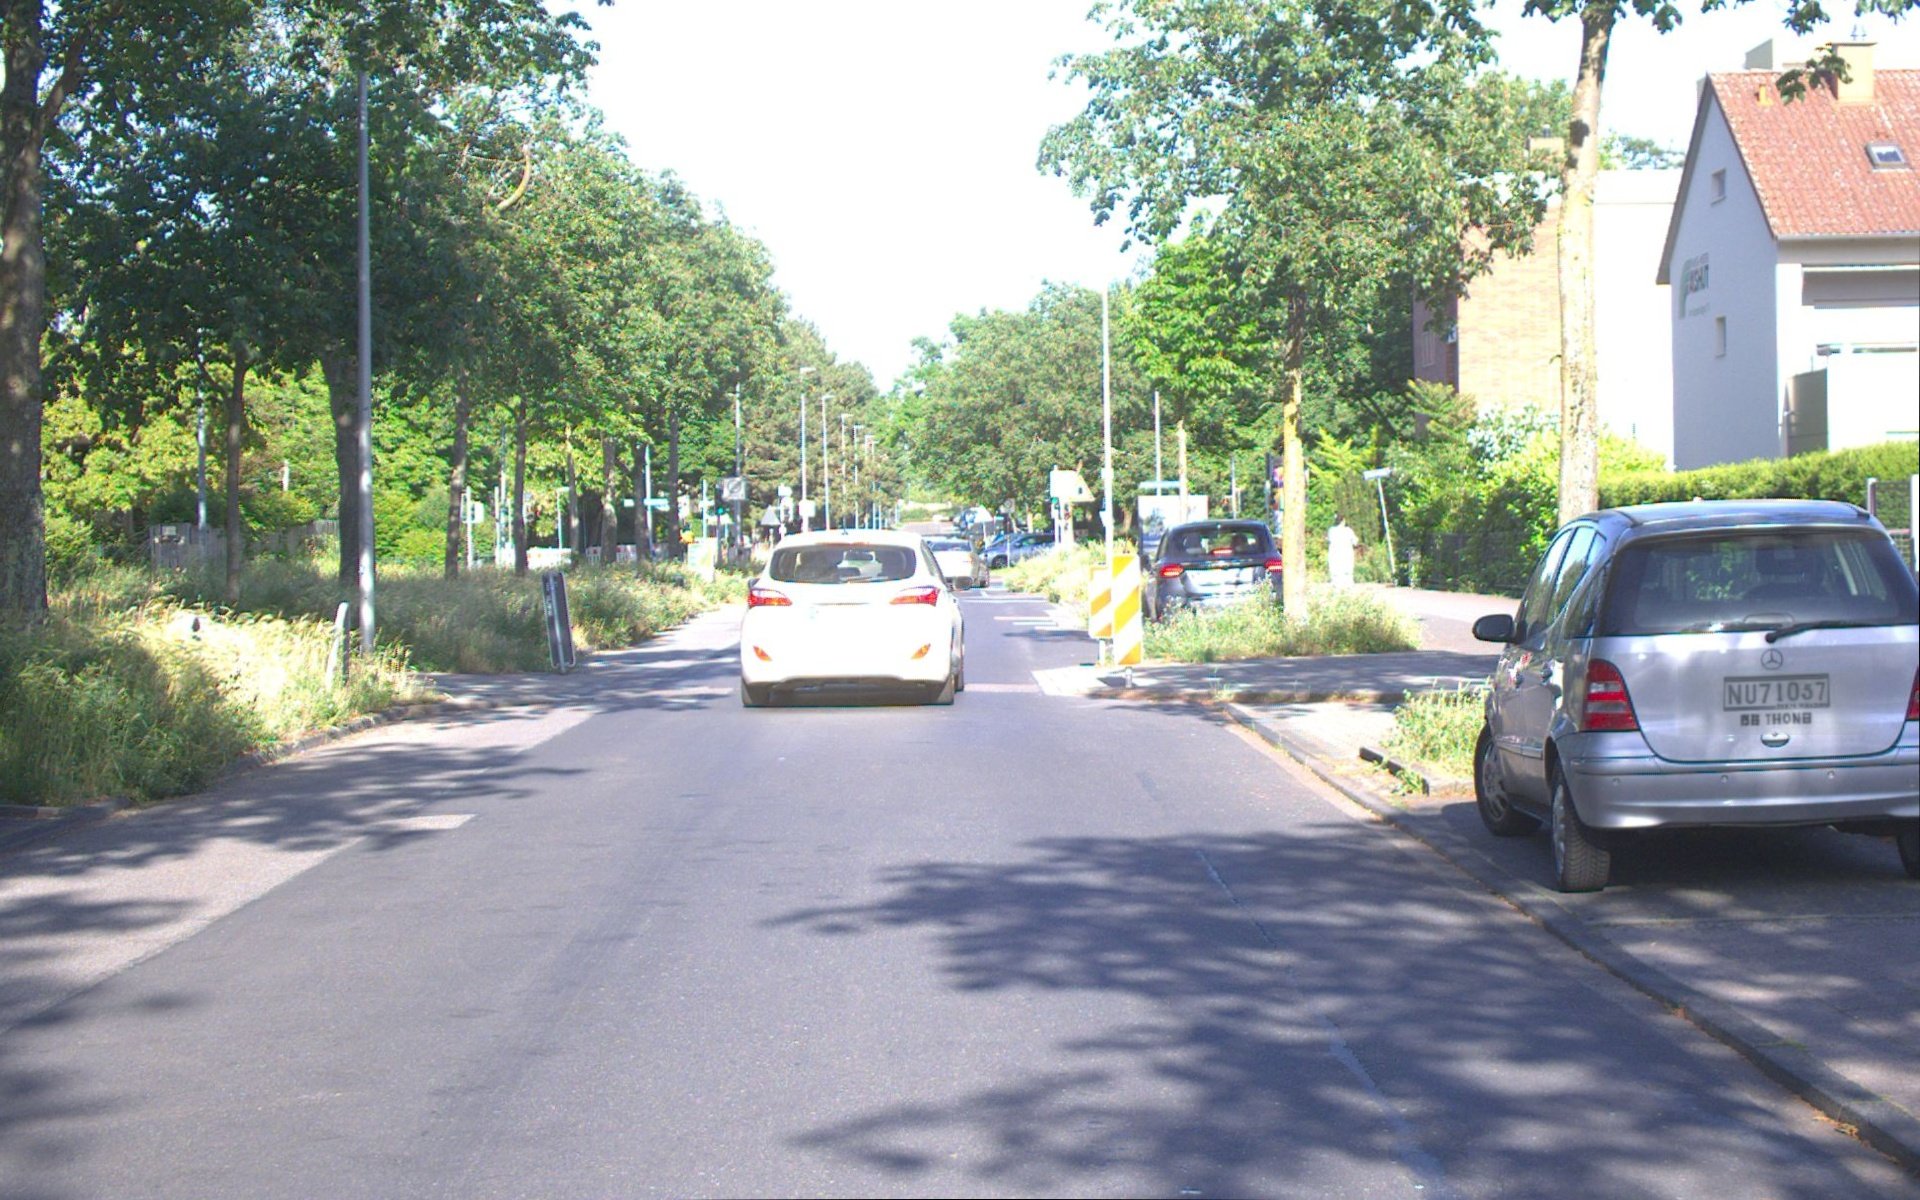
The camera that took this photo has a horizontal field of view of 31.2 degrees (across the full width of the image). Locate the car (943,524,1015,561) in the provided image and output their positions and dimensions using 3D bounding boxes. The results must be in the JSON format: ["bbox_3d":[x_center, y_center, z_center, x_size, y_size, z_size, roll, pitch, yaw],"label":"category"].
[{"bbox_3d":[1.053,-3.231,193.051,3.986,2.007,2.000,0,1,-1],"label":"car"}]

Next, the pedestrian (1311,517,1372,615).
[{"bbox_3d":[8.069,-0.719,72.748,1.112,2.007,0.922,2,1,0],"label":"pedestrian"}]

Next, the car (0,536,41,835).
[{"bbox_3d":[-7.075,0.411,17.398,4.367,1.526,1.808,1,1,-1],"label":"car"}]

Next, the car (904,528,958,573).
[{"bbox_3d":[-1.021,-1.751,121.068,1.816,1.503,3.658,2,1,0],"label":"car"}]

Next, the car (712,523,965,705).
[{"bbox_3d":[-0.988,0.067,30.135,1.993,1.450,4.225,0,1,1],"label":"car"}]

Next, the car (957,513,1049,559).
[{"bbox_3d":[1.881,-2.804,151.020,3.986,2.007,2.000,0,1,-1],"label":"car"}]

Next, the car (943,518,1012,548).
[{"bbox_3d":[1.015,-3.963,203.315,3.986,1.744,2.000,0,1,-2],"label":"car"}]

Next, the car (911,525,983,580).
[{"bbox_3d":[-0.381,-1.383,100.519,1.993,1.503,3.658,2,1,0],"label":"car"}]

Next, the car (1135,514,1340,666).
[{"bbox_3d":[3.389,-0.138,42.741,1.993,1.722,4.000,-2,1,-2],"label":"car"}]

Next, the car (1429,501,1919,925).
[{"bbox_3d":[3.279,0.416,15.747,1.610,1.616,4.382,2,1,0],"label":"car"}]
